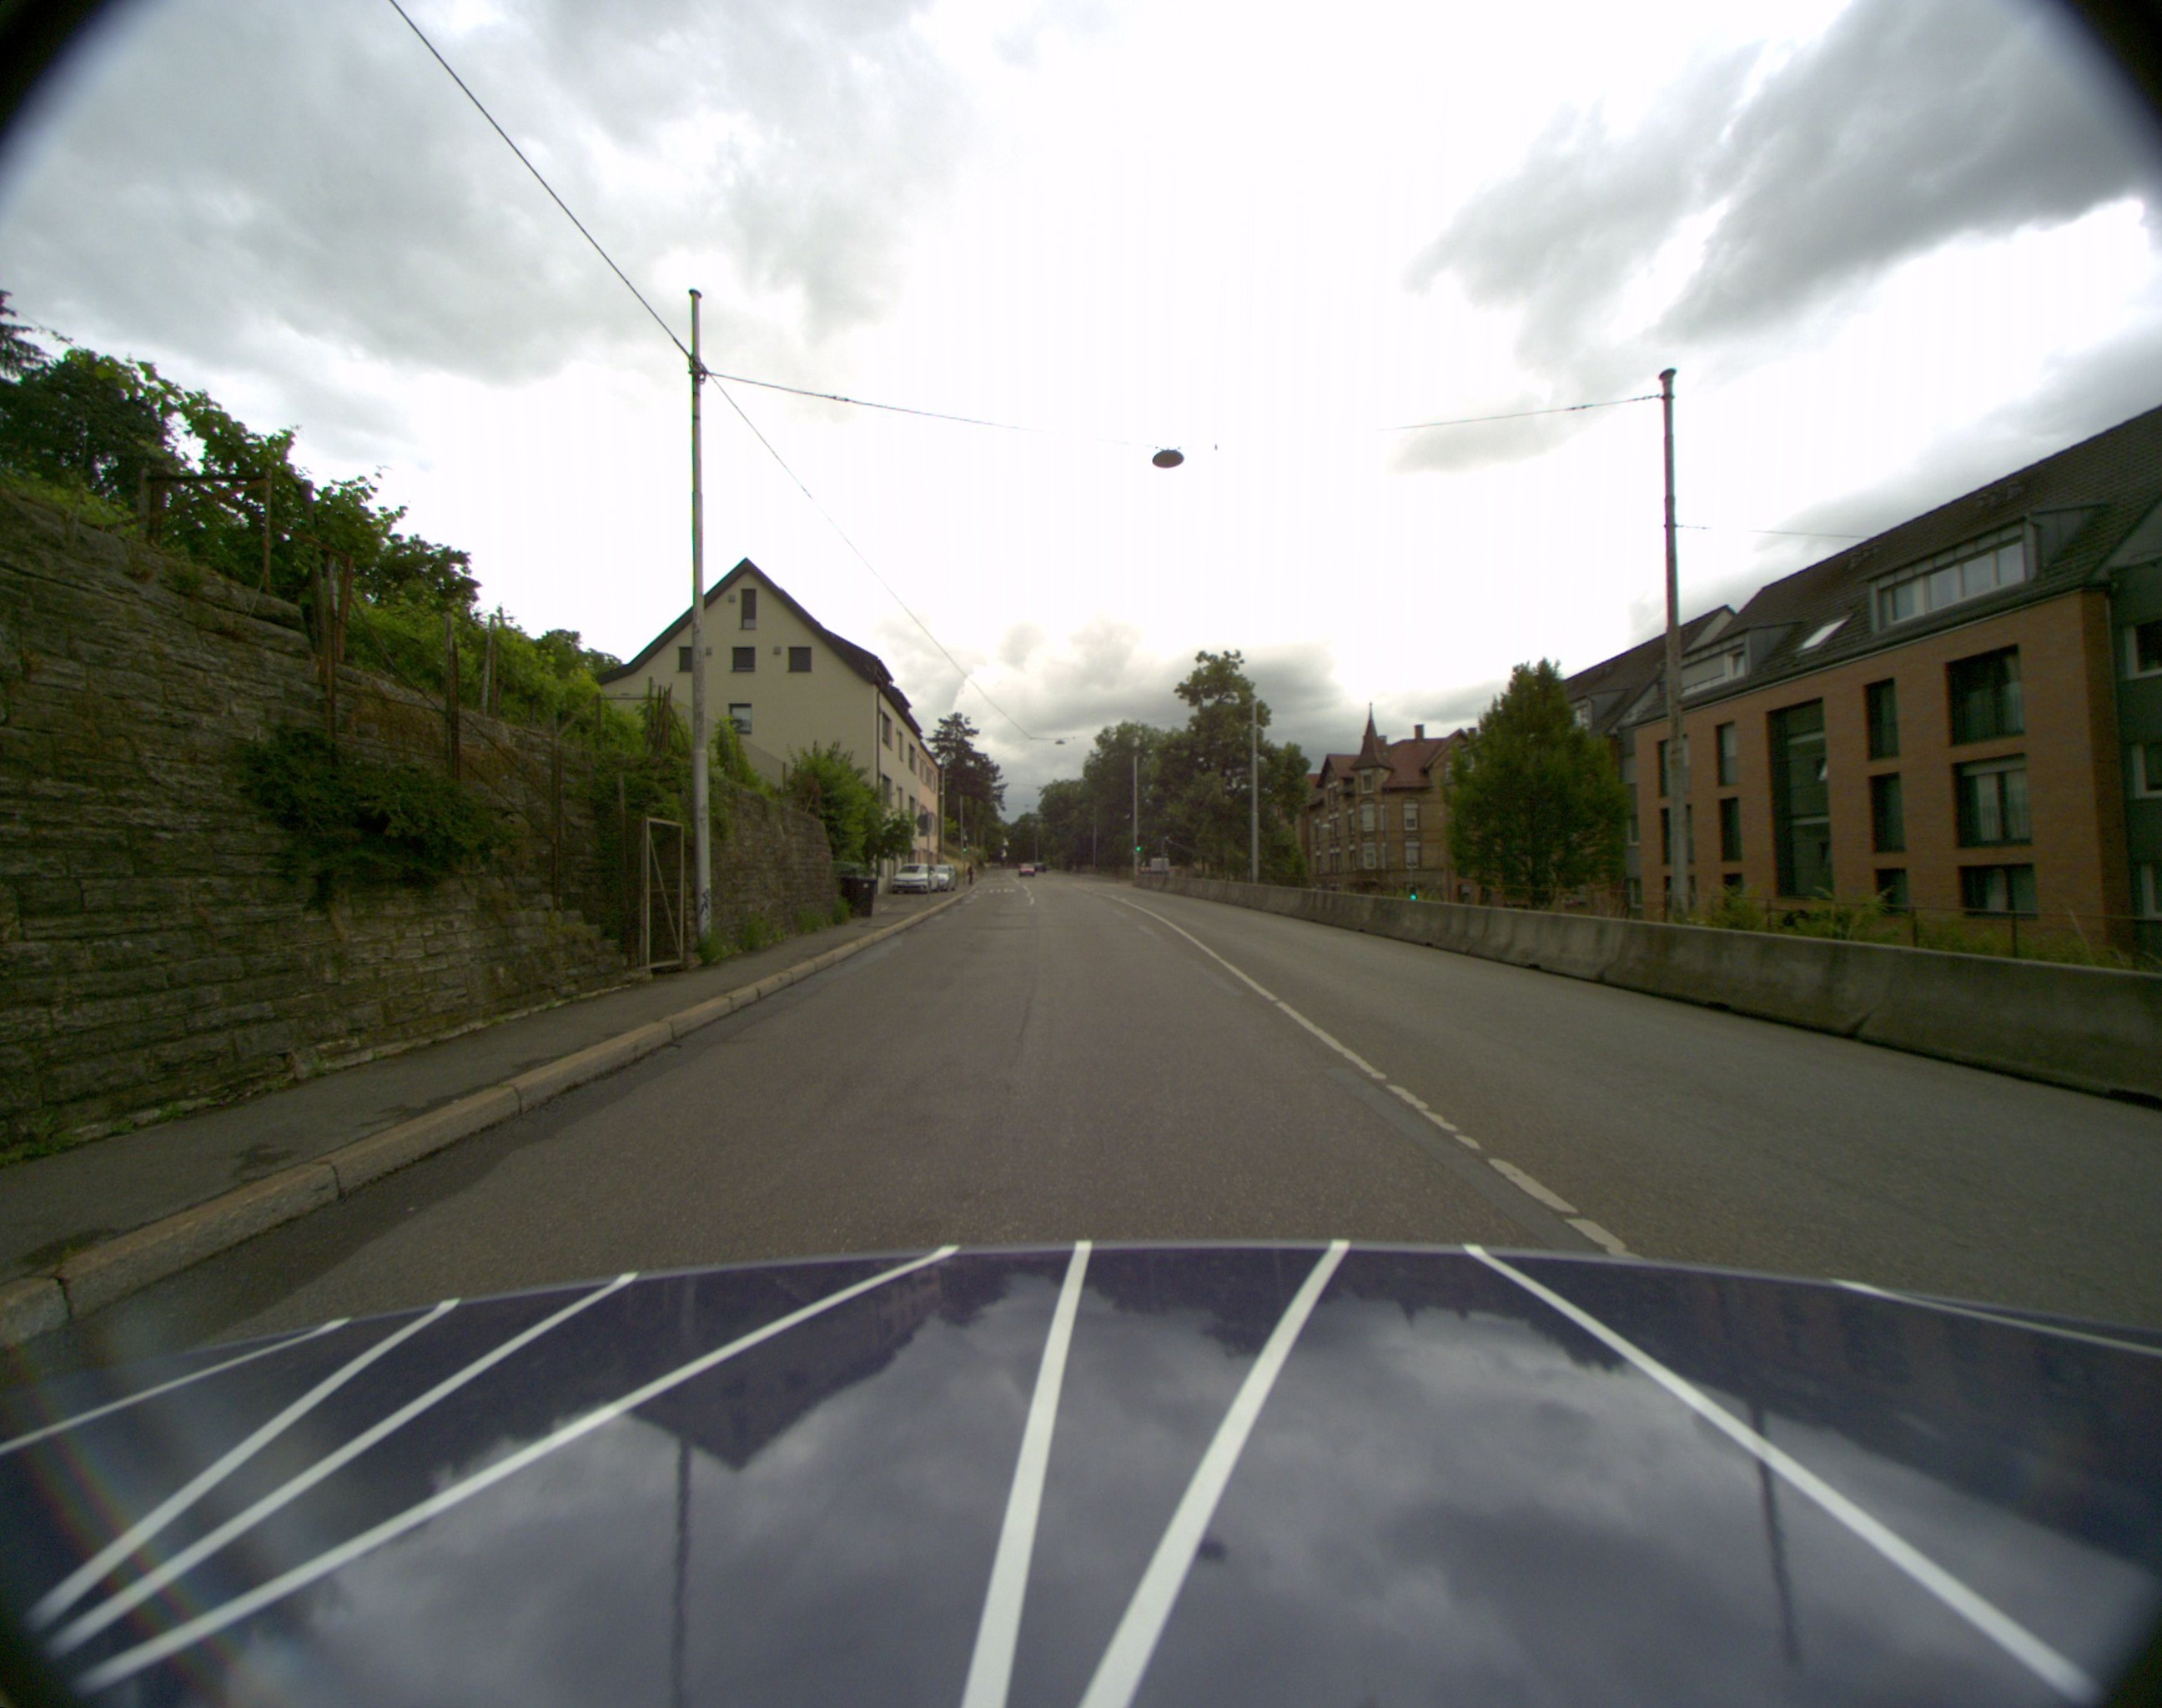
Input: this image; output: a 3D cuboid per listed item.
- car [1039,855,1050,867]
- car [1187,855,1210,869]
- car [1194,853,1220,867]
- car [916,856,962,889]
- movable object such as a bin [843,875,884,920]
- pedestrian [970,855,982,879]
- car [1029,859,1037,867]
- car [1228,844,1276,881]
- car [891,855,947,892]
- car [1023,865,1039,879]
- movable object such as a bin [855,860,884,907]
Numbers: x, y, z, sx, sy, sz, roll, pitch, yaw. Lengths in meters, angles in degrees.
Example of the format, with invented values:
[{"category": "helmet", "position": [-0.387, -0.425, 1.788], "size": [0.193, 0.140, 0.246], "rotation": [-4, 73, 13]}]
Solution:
[{"category": "car", "position": [-6.062, 1.147, 125.550], "size": [1.786, 1.871, 3.999], "rotation": [-1, 0, -2]}, {"category": "car", "position": [13.767, 0.939, 89.170], "size": [1.999, 1.543, 4.000], "rotation": [0, 0, 0]}, {"category": "car", "position": [12.886, 0.610, 77.805], "size": [1.999, 1.346, 4.000], "rotation": [0, 0, 0]}, {"category": "car", "position": [-7.671, 0.961, 41.521], "size": [1.732, 1.566, 4.248], "rotation": [-2, 1, -1]}, {"category": "movable object such as a bin", "position": [-5.697, 1.136, 19.950], "size": [0.811, 1.120, 0.874], "rotation": [-1, 0, -2]}, {"category": "pedestrian", "position": [-7.706, 0.937, 55.545], "size": [0.735, 1.702, 0.696], "rotation": [-1, 0, 2]}, {"category": "car", "position": [-11.887, 2.266, 187.705], "size": [1.999, 1.838, 3.999], "rotation": [-1, 0, -3]}, {"category": "car", "position": [13.104, 0.585, 58.652], "size": [2.565, 2.567, 5.736], "rotation": [-2, 1, 2]}, {"category": "car", "position": [-7.739, 0.905, 36.638], "size": [1.799, 1.566, 4.055], "rotation": [-2, 1, -1]}, {"category": "car", "position": [-5.537, 1.975, 84.057], "size": [1.646, 1.429, 3.999], "rotation": [-1, -1, -3]}, {"category": "movable object such as a bin", "position": [-7.166, 0.976, 25.774], "size": [0.753, 1.533, 1.064], "rotation": [-1, 0, -8]}]
